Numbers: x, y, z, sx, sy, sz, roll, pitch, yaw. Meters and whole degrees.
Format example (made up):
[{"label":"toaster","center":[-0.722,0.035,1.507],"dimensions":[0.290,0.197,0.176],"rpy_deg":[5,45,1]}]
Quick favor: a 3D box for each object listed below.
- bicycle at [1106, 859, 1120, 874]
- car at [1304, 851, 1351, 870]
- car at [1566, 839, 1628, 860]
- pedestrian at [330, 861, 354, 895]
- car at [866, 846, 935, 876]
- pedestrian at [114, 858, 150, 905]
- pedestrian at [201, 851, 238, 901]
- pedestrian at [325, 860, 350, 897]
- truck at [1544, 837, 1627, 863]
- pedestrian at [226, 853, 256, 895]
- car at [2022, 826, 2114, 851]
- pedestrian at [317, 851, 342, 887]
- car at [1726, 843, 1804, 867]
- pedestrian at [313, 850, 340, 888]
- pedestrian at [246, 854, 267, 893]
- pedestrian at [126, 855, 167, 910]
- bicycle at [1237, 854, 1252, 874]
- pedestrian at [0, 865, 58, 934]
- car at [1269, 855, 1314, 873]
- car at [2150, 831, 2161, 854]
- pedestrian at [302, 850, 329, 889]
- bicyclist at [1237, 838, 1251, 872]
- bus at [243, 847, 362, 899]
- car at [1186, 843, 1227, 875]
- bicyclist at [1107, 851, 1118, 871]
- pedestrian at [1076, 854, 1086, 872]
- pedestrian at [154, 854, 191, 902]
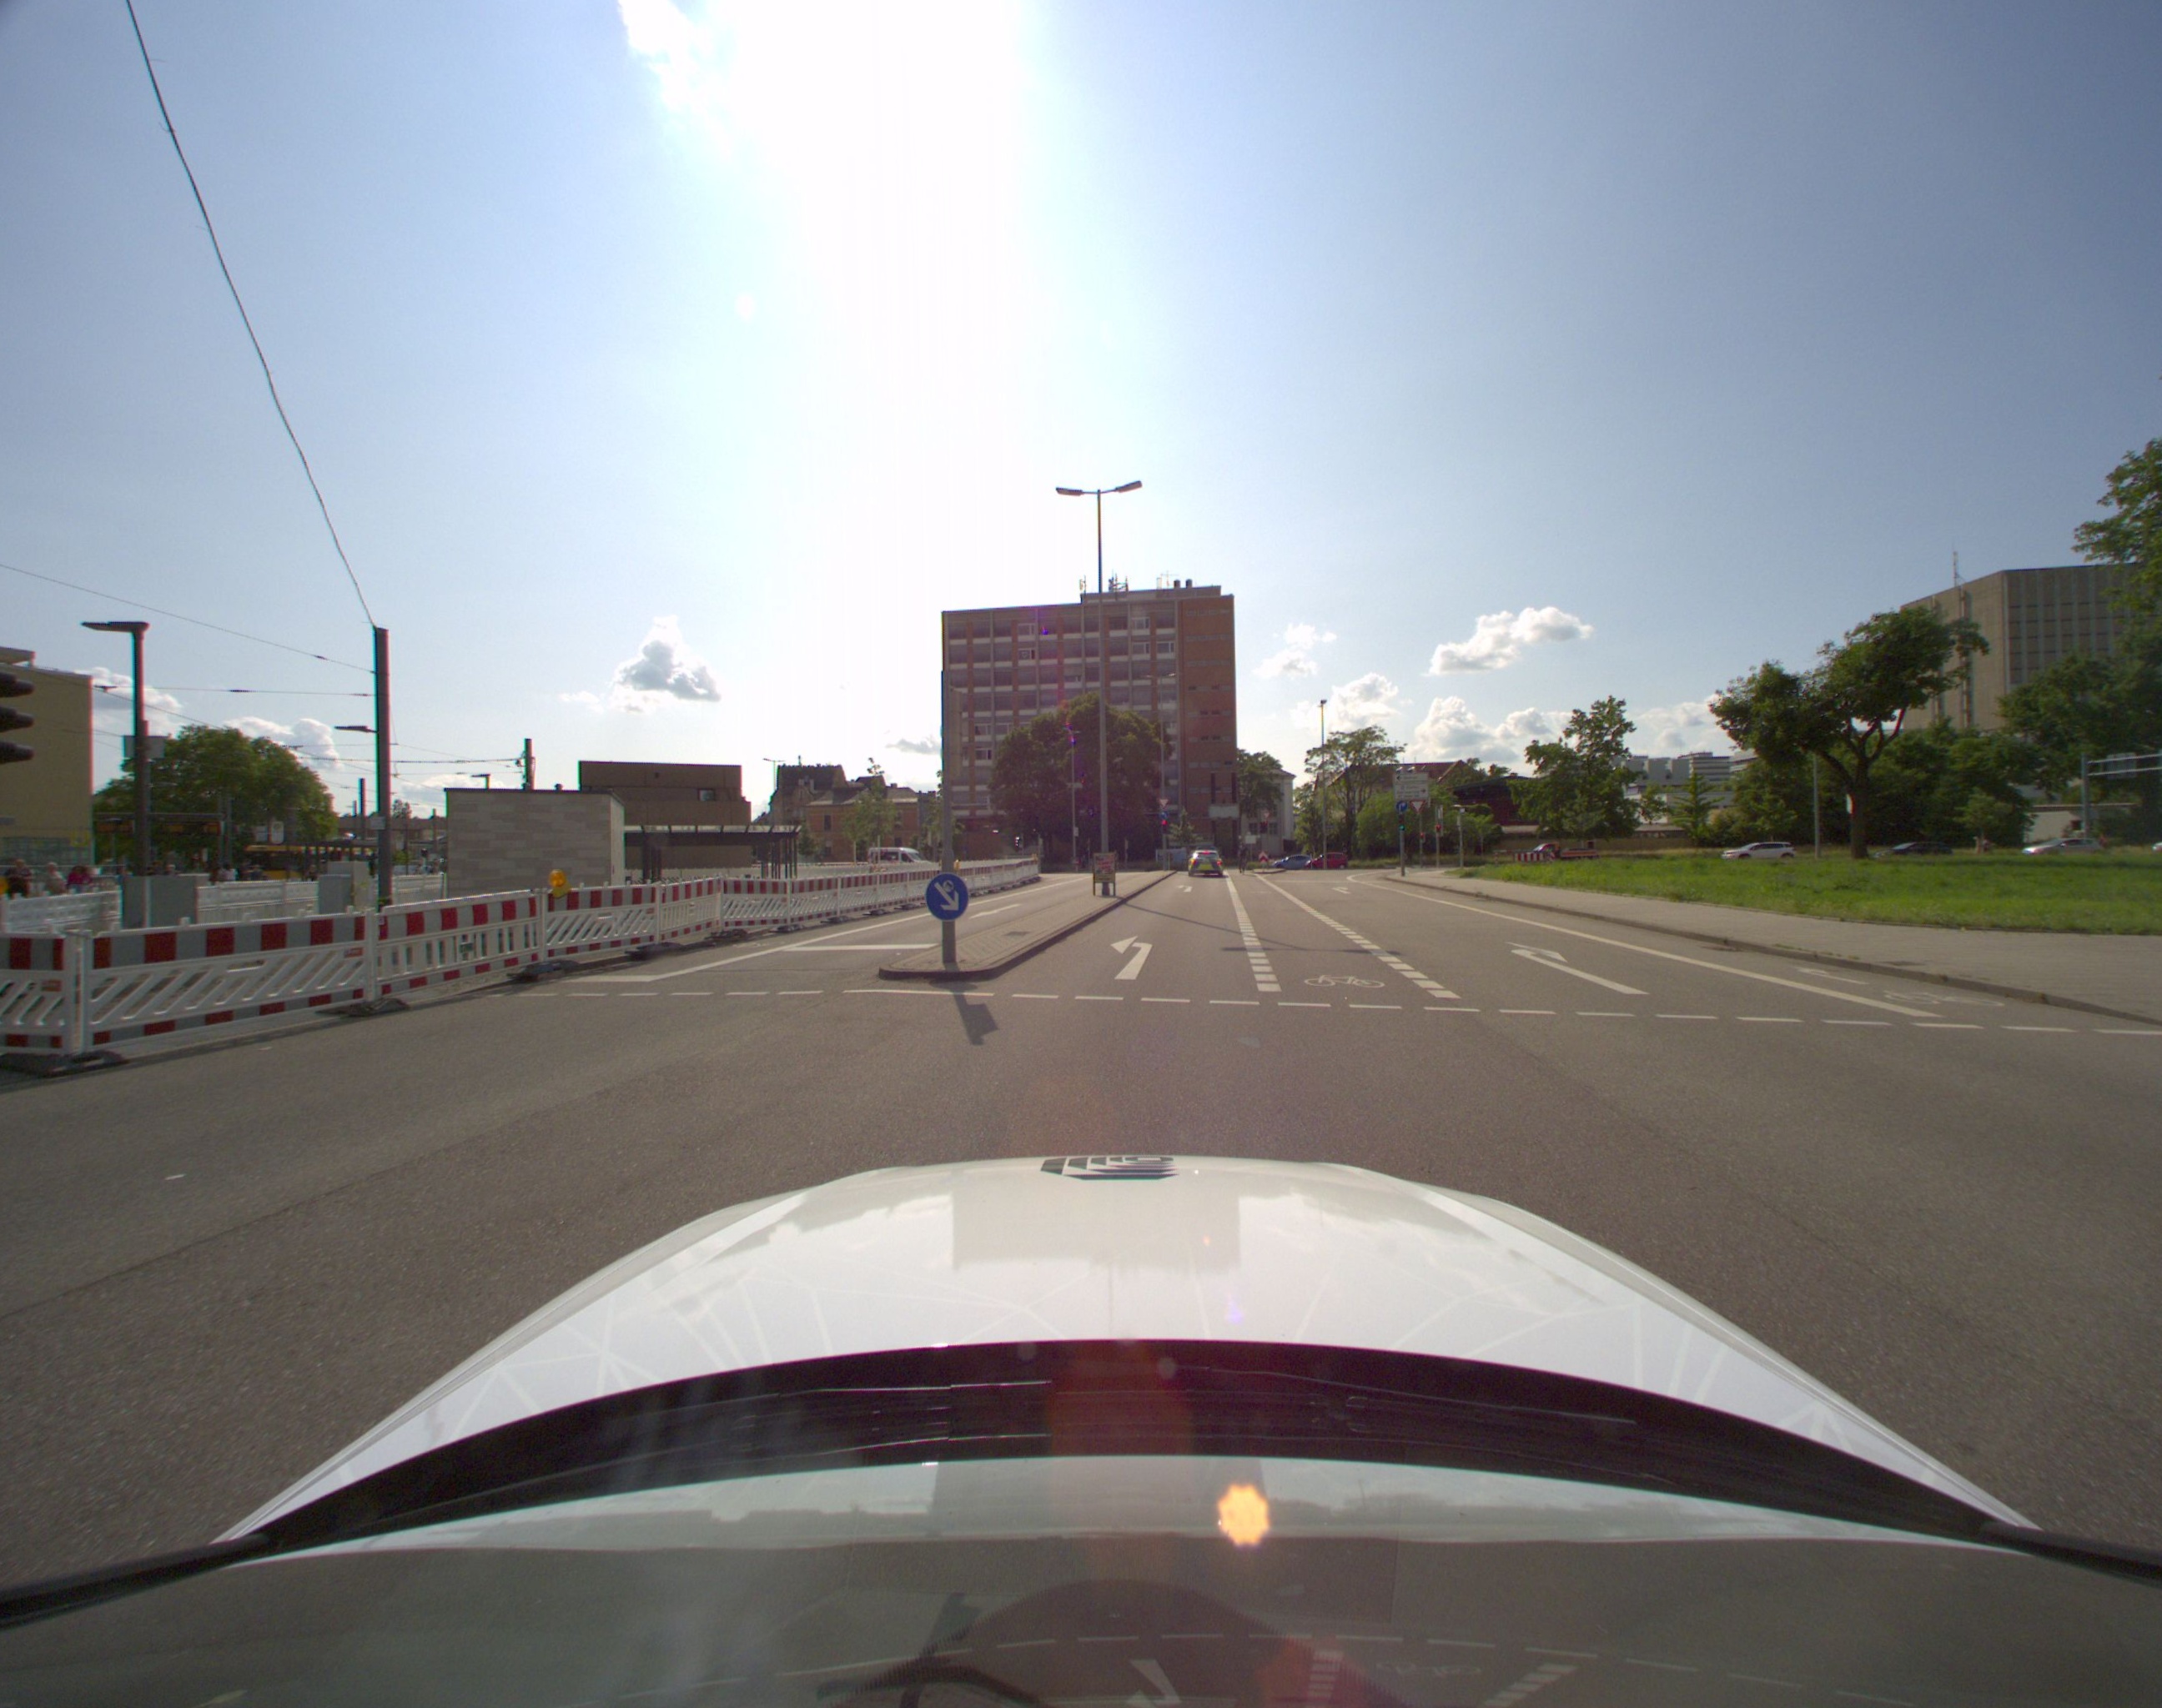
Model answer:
[{"label":"bicycle","center":[2.396,0.933,61.180],"dimensions":[0.629,1.084,2.198],"rpy_deg":[-2,1,13]},{"label":"car","center":[20.793,0.557,68.720],"dimensions":[3.691,1.456,1.635],"rpy_deg":[-2,0,21]},{"label":"car","center":[41.437,-0.364,65.442],"dimensions":[3.880,1.609,1.633],"rpy_deg":[-2,0,17]},{"label":"pedestrian","center":[-43.636,1.403,48.097],"dimensions":[0.948,2.014,0.723],"rpy_deg":[0,-1,-37]},{"label":"car","center":[-15.295,0.603,68.970],"dimensions":[5.518,2.319,2.316],"rpy_deg":[-2,0,28]},{"label":"pedestrian","center":[-41.378,1.198,35.511],"dimensions":[0.733,2.014,0.935],"rpy_deg":[0,-1,-29]},{"label":"pedestrian","center":[-35.737,0.903,33.796],"dimensions":[0.721,2.014,0.950],"rpy_deg":[-1,-1,34]},{"label":"pedestrian","center":[-41.368,1.341,45.302],"dimensions":[0.948,2.014,0.723],"rpy_deg":[0,-1,-37]},{"label":"truck","center":[39.043,-0.304,63.169],"dimensions":[5.075,1.838,2.009],"rpy_deg":[-2,0,17]},{"label":"pedestrian","center":[-40.668,0.953,39.419],"dimensions":[0.721,2.014,0.949],"rpy_deg":[-1,-1,39]},{"label":"car","center":[68.594,-1.066,56.667],"dimensions":[3.884,1.609,1.632],"rpy_deg":[-2,0,13]},{"label":"pedestrian","center":[-42.653,0.863,46.227],"dimensions":[0.948,2.014,0.723],"rpy_deg":[0,-1,-37]},{"label":"car","center":[50.521,0.082,60.209],"dimensions":[4.123,1.609,1.632],"rpy_deg":[-2,0,12]},{"label":"pedestrian","center":[-40.657,0.819,43.880],"dimensions":[0.721,2.014,0.949],"rpy_deg":[-1,-1,39]},{"label":"pedestrian","center":[-43.327,1.027,42.798],"dimensions":[0.932,2.014,0.735],"rpy_deg":[-2,-1,44]},{"label":"pedestrian","center":[-34.344,1.036,29.946],"dimensions":[0.721,2.014,0.949],"rpy_deg":[-1,-1,39]},{"label":"bicycle","center":[9.484,0.549,47.363],"dimensions":[0.716,1.084,2.196],"rpy_deg":[-2,1,9]},{"label":"pedestrian","center":[-31.437,1.331,24.258],"dimensions":[0.945,2.014,0.725],"rpy_deg":[0,-1,-24]},{"label":"car","center":[18.709,0.879,72.354],"dimensions":[3.691,1.456,1.635],"rpy_deg":[-2,0,21]},{"label":"car","center":[76.069,-0.859,55.352],"dimensions":[3.981,1.609,1.632],"rpy_deg":[-2,0,12]},{"label":"pedestrian","center":[-40.406,0.805,43.002],"dimensions":[0.721,2.014,0.949],"rpy_deg":[-1,-1,39]},{"label":"bicyclist","center":[9.484,0.062,47.436],"dimensions":[0.714,1.973,0.841],"rpy_deg":[-2,1,9]},{"label":"bus","center":[-49.346,1.129,52.015],"dimensions":[2.435,2.982,10.452],"rpy_deg":[-1,0,-26]},{"label":"car","center":[6.942,0.252,44.963],"dimensions":[2.117,1.684,4.113],"rpy_deg":[0,0,9]},{"label":"bicyclist","center":[2.373,0.498,61.143],"dimensions":[0.629,1.470,0.842],"rpy_deg":[-2,1,13]},{"label":"pedestrian","center":[0.001,0.944,87.560],"dimensions":[0.937,1.883,0.911],"rpy_deg":[-2,0,12]},{"label":"pedestrian","center":[-38.692,1.027,34.676],"dimensions":[0.721,2.014,0.950],"rpy_deg":[-1,-1,34]}]
